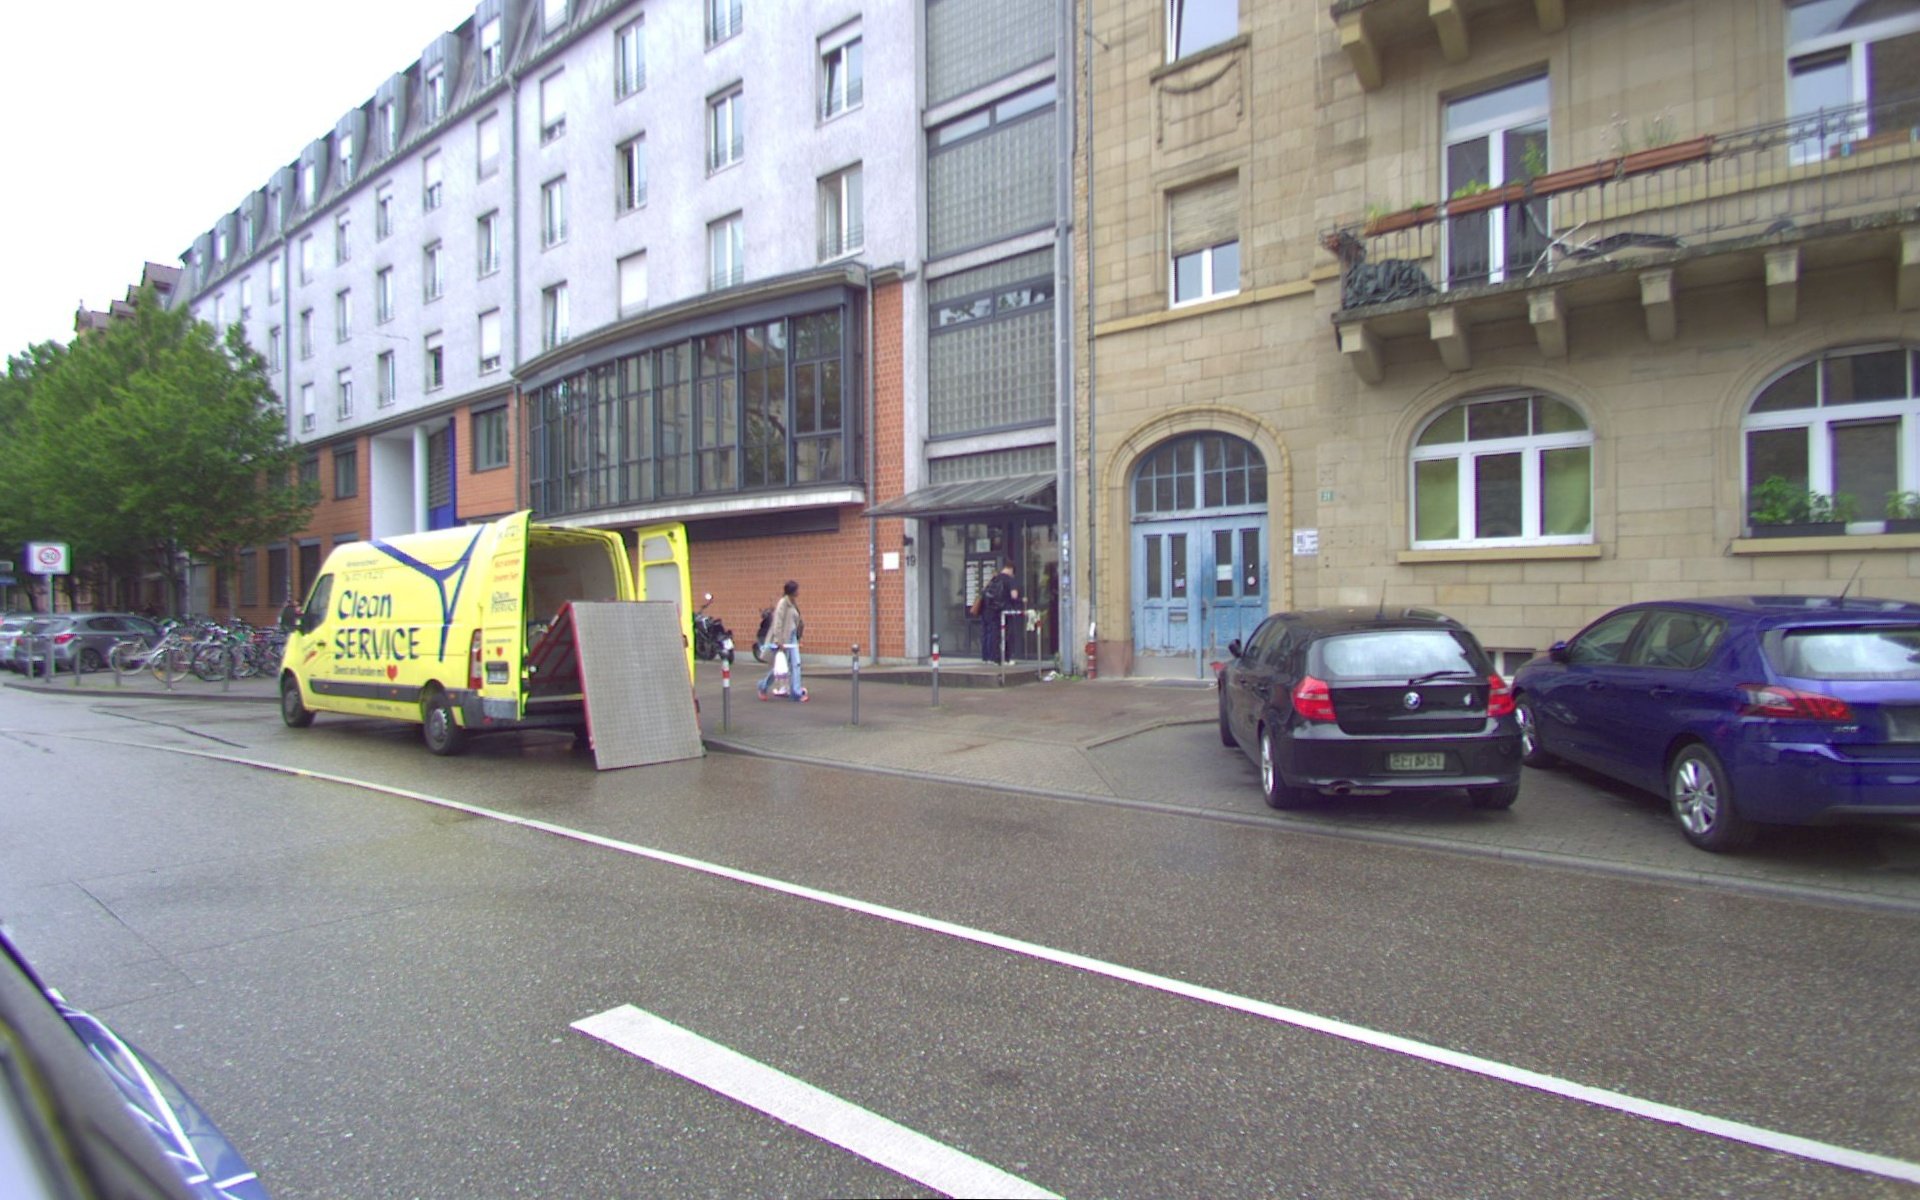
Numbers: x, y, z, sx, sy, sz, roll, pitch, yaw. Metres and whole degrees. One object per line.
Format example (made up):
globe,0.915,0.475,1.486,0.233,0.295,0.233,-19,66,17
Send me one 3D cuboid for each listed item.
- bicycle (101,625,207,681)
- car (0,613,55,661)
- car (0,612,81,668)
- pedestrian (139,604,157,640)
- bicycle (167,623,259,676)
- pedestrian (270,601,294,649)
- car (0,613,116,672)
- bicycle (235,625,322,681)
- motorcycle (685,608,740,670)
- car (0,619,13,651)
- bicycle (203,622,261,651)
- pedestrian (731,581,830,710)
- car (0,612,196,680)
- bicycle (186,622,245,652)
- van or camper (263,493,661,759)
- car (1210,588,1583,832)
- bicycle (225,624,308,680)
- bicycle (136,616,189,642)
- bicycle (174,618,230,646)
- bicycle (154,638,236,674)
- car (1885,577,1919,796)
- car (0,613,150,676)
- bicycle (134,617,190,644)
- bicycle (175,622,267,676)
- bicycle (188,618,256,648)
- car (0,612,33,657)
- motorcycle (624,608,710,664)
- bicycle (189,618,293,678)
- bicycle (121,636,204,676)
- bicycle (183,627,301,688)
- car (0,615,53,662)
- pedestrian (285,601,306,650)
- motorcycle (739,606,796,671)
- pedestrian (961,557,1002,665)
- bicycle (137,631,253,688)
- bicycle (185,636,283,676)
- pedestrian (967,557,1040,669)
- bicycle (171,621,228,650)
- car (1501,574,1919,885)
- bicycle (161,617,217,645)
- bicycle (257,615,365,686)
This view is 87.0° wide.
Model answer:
bicycle,-18.097,1.165,22.758,0.472,1.114,1.791,-1,1,35
car,-32.515,1.262,33.957,1.358,1.567,2.971,-1,0,11
car,-28.224,1.175,30.147,1.432,1.564,3.079,-1,0,-1
pedestrian,-36.481,0.965,45.472,0.533,1.609,0.564,-1,-1,41
bicycle,-17.080,1.114,23.167,0.519,1.114,1.592,-1,1,35
pedestrian,-22.911,0.838,34.198,0.595,1.622,0.374,0,-1,-25
car,-25.801,1.175,28.552,1.432,1.514,3.079,-1,0,-1
bicycle,-14.204,1.093,21.121,0.418,1.072,1.442,-1,1,43
motorcycle,-5.048,0.756,20.576,0.516,1.190,2.010,-1,0,-31
car,-45.112,1.585,45.675,1.662,1.502,3.799,0,-1,-10
bicycle,-25.418,1.256,35.357,0.444,0.992,1.573,-1,-1,32
pedestrian,-2.560,0.620,14.386,1.171,1.741,0.777,-1,0,39
car,-21.390,1.083,25.206,1.720,1.514,3.614,0,0,8
bicycle,-25.398,1.246,34.530,0.444,0.992,1.573,-1,-1,32
van or camper,-6.460,0.312,12.746,5.934,2.631,2.174,-1,-2,39
car,3.262,0.722,8.474,1.777,1.523,4.035,0,-1,7
bicycle,-14.803,1.087,21.613,1.439,1.111,0.462,-1,1,-36
bicycle,-31.382,1.144,39.852,0.464,0.992,1.573,-1,-1,32
bicycle,-27.199,1.136,36.333,0.444,0.992,1.573,-1,-1,32
bicycle,-17.886,1.292,23.668,0.497,0.727,1.454,0,1,42
car,7.744,0.588,5.439,1.773,1.567,4.043,0,-1,0
car,-23.696,1.137,27.007,1.436,1.514,3.070,-1,0,8
bicycle,-30.113,1.138,38.205,0.464,0.992,1.573,-1,-1,32
bicycle,-16.558,1.074,22.718,0.517,1.114,1.596,-1,1,27
bicycle,-24.980,1.101,34.287,0.444,0.992,1.831,-1,-1,32
car,-34.632,1.246,35.722,1.138,1.567,2.673,-1,0,11
motorcycle,-6.473,0.780,22.263,2.202,1.165,0.643,-1,0,38
bicycle,-15.592,1.020,22.005,0.517,1.203,1.798,-1,1,27
bicycle,-18.668,1.299,23.708,0.497,0.811,1.454,0,1,42
bicycle,-14.311,1.118,20.201,1.832,1.081,0.610,-2,1,-45
car,-30.638,1.234,32.295,1.177,1.461,2.502,-1,0,-1
pedestrian,-22.231,0.855,33.864,0.506,1.622,0.427,0,-1,-22
motorcycle,-3.786,0.728,19.795,0.516,1.190,1.763,-1,0,-31
pedestrian,0.358,0.187,16.961,0.467,1.761,0.608,1,-2,-24
bicycle,-15.313,1.171,20.302,0.519,1.000,1.778,-1,1,37
bicycle,-16.033,1.225,22.388,0.454,0.767,1.757,-1,1,27
pedestrian,0.714,0.213,16.327,0.785,1.741,0.998,-1,-1,31
bicycle,-26.860,1.246,35.766,0.444,0.992,1.573,-1,-1,32
car,5.461,0.687,7.116,1.779,1.585,4.029,0,-1,11
bicycle,-28.159,1.137,36.999,0.464,0.992,1.573,-1,-1,32
bicycle,-12.735,0.960,19.945,0.760,1.225,1.917,0,2,5
